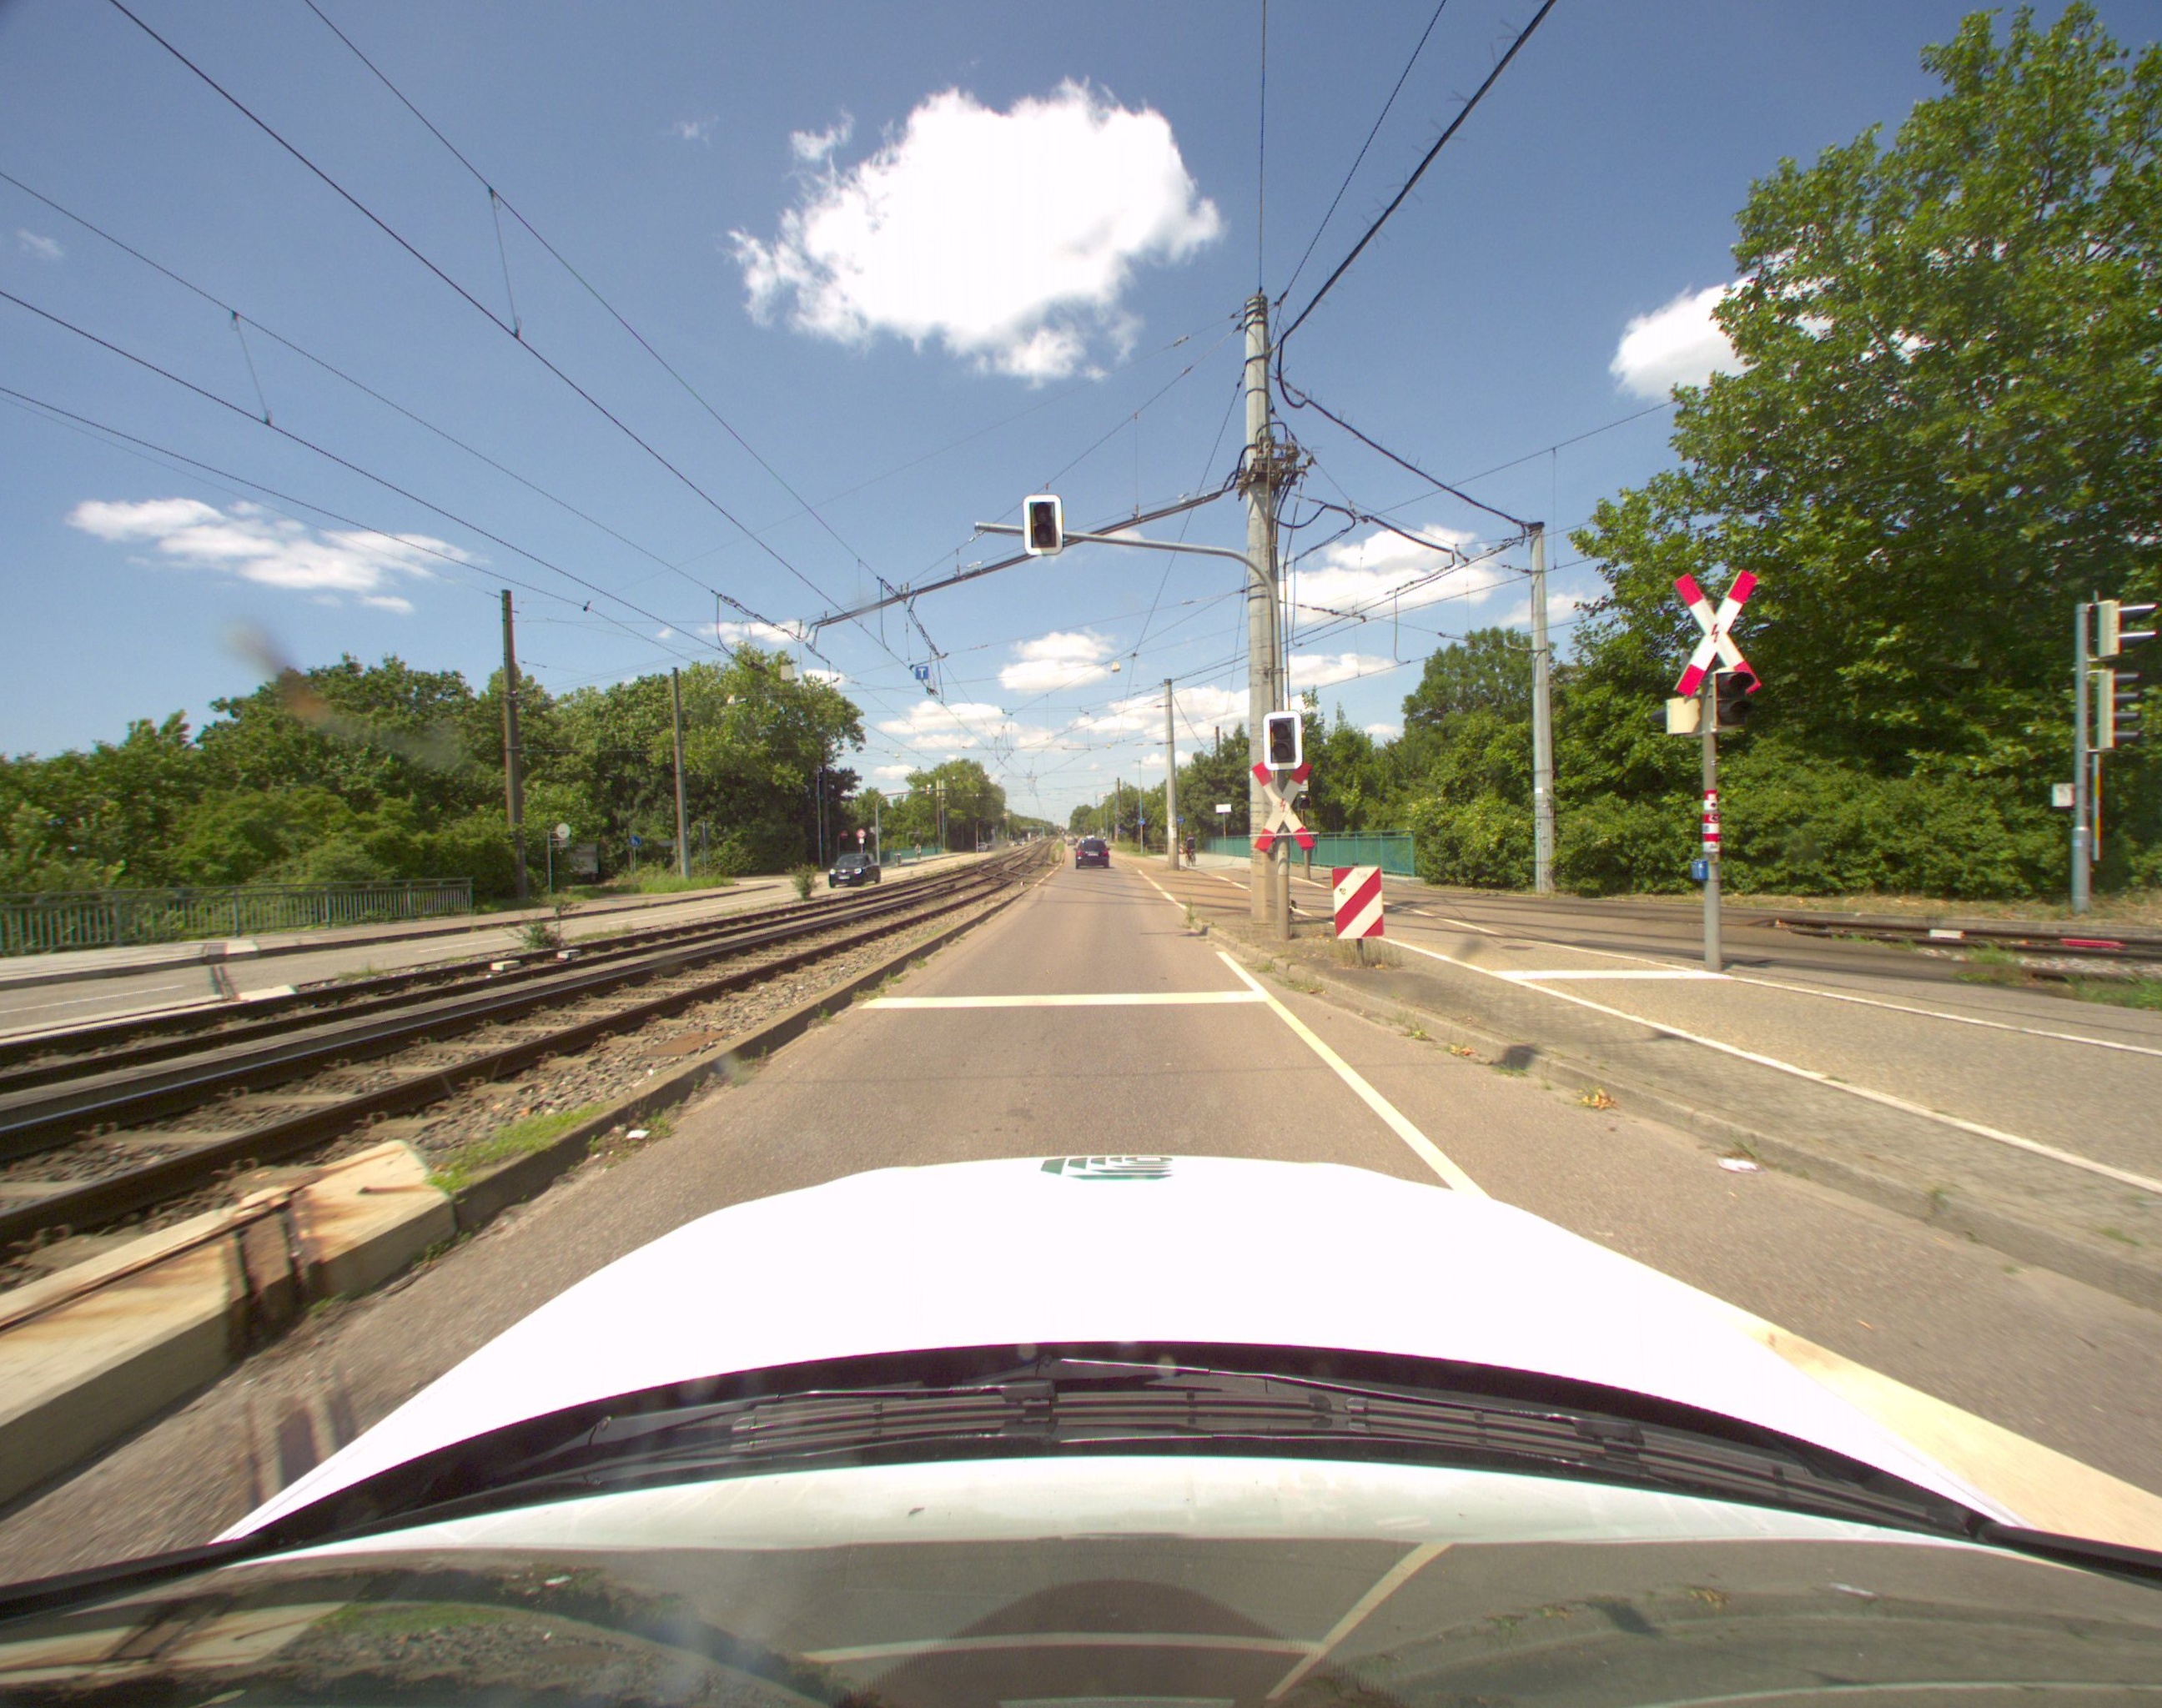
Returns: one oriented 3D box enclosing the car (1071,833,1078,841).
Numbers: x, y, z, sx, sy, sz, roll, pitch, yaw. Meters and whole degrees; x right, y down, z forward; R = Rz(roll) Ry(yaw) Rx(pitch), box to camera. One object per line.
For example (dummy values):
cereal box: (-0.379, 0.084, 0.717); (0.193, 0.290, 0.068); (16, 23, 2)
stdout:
car: (-1.837, -4.881, 234.908); (1.781, 2.013, 3.999); (-1, 2, -1)

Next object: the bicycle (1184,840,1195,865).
bicycle: (5.557, -0.087, 41.615); (0.430, 1.152, 1.857); (-1, 2, 4)

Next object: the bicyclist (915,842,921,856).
bicyclist: (-17.347, -0.517, 86.509); (0.455, 1.474, 0.633); (-2, 1, 1)

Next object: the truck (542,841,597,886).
truck: (-44.050, 0.793, 70.106); (2.865, 3.655, 5.226); (-3, 0, -45)

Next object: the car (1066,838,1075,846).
car: (-2.337, -2.734, 182.949); (1.877, 1.639, 4.004); (2, 2, 3)

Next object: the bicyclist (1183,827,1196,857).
bicyclist: (5.548, -0.611, 41.653); (0.583, 1.494, 0.558); (-1, 2, 3)

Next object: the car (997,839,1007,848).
car: (-18.716, -2.505, 193.555); (1.987, 2.013, 3.999); (-2, 0, 0)

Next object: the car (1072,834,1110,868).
car: (0.587, -0.203, 43.611); (1.846, 1.569, 4.392); (-1, 3, 2)

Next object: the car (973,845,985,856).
car: (-18.082, -0.708, 144.331); (1.716, 1.630, 4.613); (-5, 3, -2)

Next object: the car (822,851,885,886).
car: (-10.749, 0.649, 38.782); (1.698, 1.510, 3.736); (-2, 0, 3)

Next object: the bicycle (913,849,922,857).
bicycle: (-17.343, -0.115, 86.462); (0.467, 0.868, 1.743); (-2, 1, 1)

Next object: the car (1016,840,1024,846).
car: (-16.454, -3.000, 218.565); (1.870, 1.720, 5.327); (-2, 1, -2)

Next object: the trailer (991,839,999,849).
trailer: (-18.934, -2.238, 180.396); (1.606, 2.013, 3.910); (-1, 2, -4)

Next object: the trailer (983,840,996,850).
trailer: (-17.876, -1.713, 159.989); (2.458, 1.888, 5.950); (-1, 1, -6)
